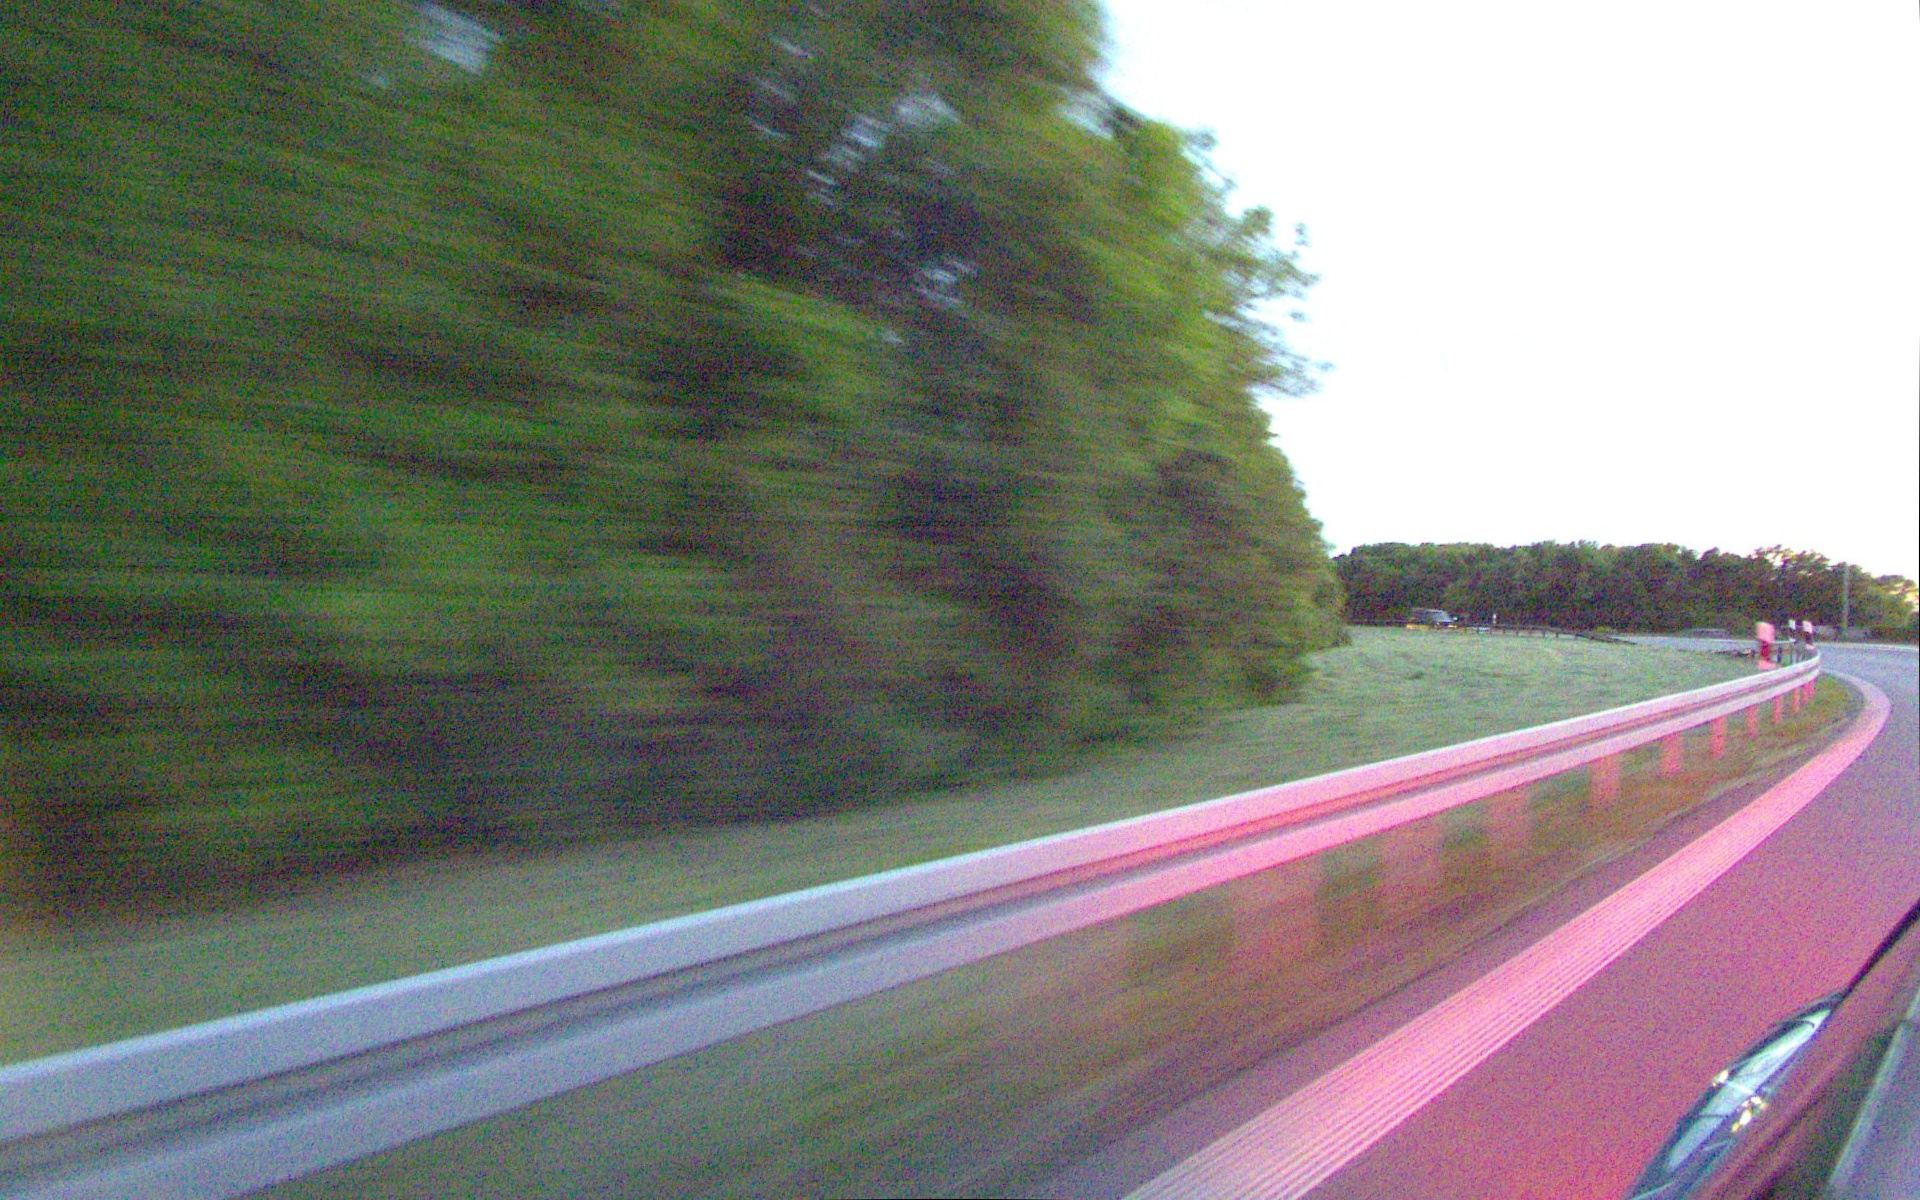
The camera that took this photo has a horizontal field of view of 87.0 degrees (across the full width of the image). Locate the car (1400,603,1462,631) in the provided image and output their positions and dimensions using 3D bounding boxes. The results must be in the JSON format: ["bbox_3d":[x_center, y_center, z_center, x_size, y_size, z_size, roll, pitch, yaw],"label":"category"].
[{"bbox_3d":[45.552,1.592,98.000,2.218,2.560,6.507,0,0,-8],"label":"car"}]
